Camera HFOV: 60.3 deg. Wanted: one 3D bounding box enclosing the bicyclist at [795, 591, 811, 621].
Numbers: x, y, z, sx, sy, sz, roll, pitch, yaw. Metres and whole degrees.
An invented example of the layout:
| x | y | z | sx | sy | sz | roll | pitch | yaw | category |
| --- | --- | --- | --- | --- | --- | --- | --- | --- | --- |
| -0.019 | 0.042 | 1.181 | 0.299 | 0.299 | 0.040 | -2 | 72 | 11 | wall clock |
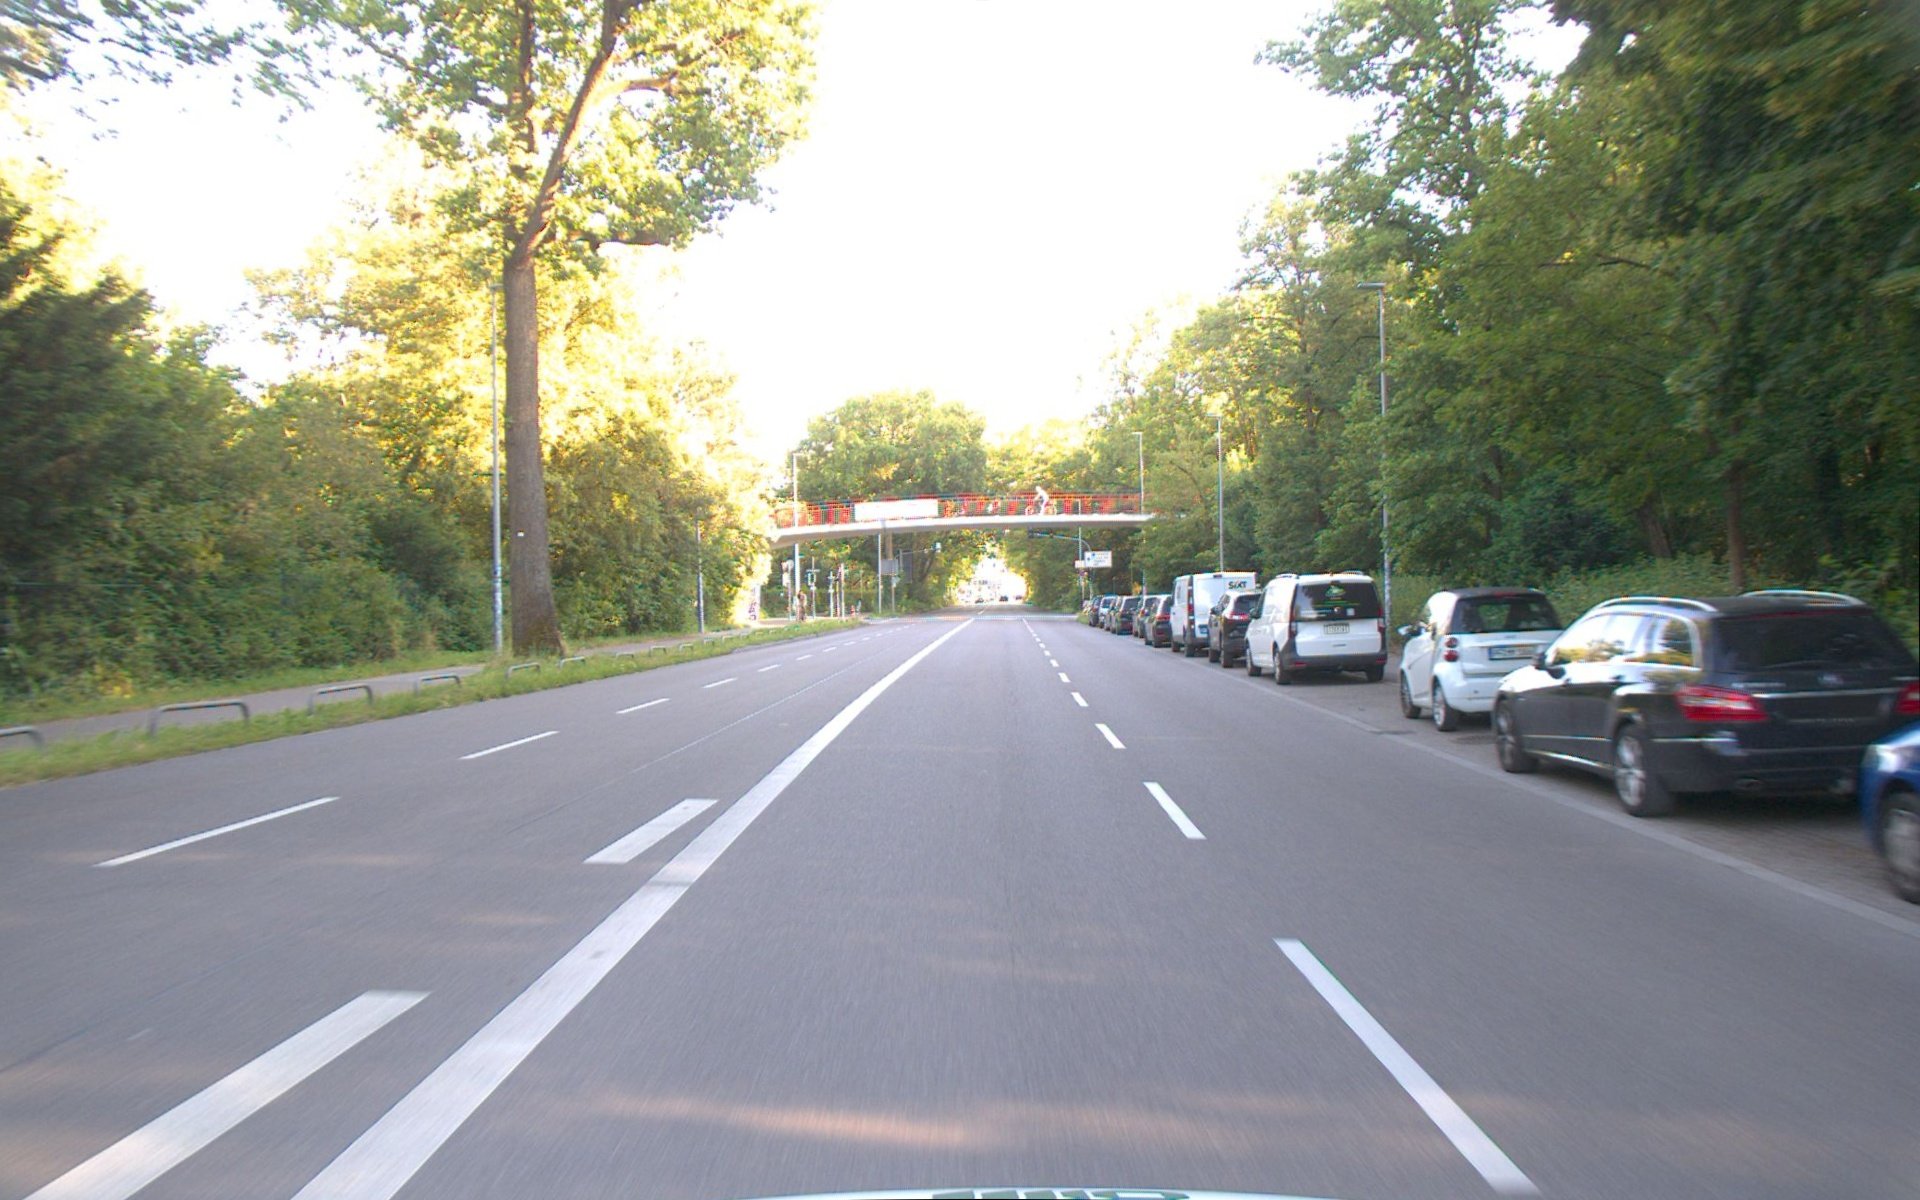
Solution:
| x | y | z | sx | sy | sz | roll | pitch | yaw | category |
| --- | --- | --- | --- | --- | --- | --- | --- | --- | --- |
| -8.397 | 0.322 | 88.310 | 0.697 | 1.586 | 1.143 | 1 | -1 | 1 | bicyclist |

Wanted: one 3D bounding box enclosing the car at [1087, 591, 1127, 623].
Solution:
| x | y | z | sx | sy | sz | roll | pitch | yaw | category |
| --- | --- | --- | --- | --- | --- | --- | --- | --- | --- |
| 7.291 | 0.343 | 82.235 | 1.737 | 1.479 | 4.389 | -1 | 0 | 2 | car |

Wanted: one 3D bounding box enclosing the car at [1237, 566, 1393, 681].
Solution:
| x | y | z | sx | sy | sz | roll | pitch | yaw | category |
| --- | --- | --- | --- | --- | --- | --- | --- | --- | --- |
| 6.217 | 0.398 | 29.468 | 1.723 | 1.835 | 4.737 | -1 | 0 | 0 | car |

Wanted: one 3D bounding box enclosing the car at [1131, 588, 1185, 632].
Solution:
| x | y | z | sx | sy | sz | roll | pitch | yaw | category |
| --- | --- | --- | --- | --- | --- | --- | --- | --- | --- |
| 6.983 | 0.349 | 58.532 | 1.553 | 1.479 | 3.944 | -1 | 0 | 2 | car |

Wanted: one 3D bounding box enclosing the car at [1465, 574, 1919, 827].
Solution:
| x | y | z | sx | sy | sz | roll | pitch | yaw | category |
| --- | --- | --- | --- | --- | --- | --- | --- | --- | --- |
| 5.586 | 0.639 | 12.942 | 1.723 | 1.562 | 4.989 | -1 | 0 | 0 | car |

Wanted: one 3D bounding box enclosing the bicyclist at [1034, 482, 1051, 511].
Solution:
| x | y | z | sx | sy | sz | roll | pitch | yaw | category |
| --- | --- | --- | --- | --- | --- | --- | --- | --- | --- |
| 4.830 | -6.048 | 96.796 | 0.950 | 1.614 | 0.714 | 1 | -1 | 0 | bicyclist |

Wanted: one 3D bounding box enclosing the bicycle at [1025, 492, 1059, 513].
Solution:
| x | y | z | sx | sy | sz | roll | pitch | yaw | category |
| --- | --- | --- | --- | --- | --- | --- | --- | --- | --- |
| 4.815 | -5.715 | 96.800 | 1.946 | 1.167 | 0.714 | 1 | -1 | 0 | bicycle |

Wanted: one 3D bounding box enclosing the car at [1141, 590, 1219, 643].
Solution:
| x | y | z | sx | sy | sz | roll | pitch | yaw | category |
| --- | --- | --- | --- | --- | --- | --- | --- | --- | --- |
| 6.433 | 0.472 | 48.715 | 1.830 | 1.431 | 4.370 | -1 | 0 | 2 | car |

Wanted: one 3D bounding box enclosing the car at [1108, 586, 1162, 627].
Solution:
| x | y | z | sx | sy | sz | roll | pitch | yaw | category |
| --- | --- | --- | --- | --- | --- | --- | --- | --- | --- |
| 6.820 | 0.255 | 64.903 | 1.603 | 1.479 | 4.897 | -1 | 0 | 0 | car |

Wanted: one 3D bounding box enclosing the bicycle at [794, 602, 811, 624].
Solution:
| x | y | z | sx | sy | sz | roll | pitch | yaw | category |
| --- | --- | --- | --- | --- | --- | --- | --- | --- | --- |
| -8.400 | 0.712 | 88.304 | 0.697 | 1.167 | 1.993 | 1 | -1 | 1 | bicycle |

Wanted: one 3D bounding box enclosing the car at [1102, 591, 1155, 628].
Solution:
| x | y | z | sx | sy | sz | roll | pitch | yaw | category |
| --- | --- | --- | --- | --- | --- | --- | --- | --- | --- |
| 7.132 | 0.390 | 70.333 | 1.738 | 1.479 | 5.038 | -1 | 0 | 0 | car |

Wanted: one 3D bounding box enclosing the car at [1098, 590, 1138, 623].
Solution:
| x | y | z | sx | sy | sz | roll | pitch | yaw | category |
| --- | --- | --- | --- | --- | --- | --- | --- | --- | --- |
| 7.402 | 0.316 | 77.821 | 1.737 | 1.479 | 4.016 | -1 | 0 | 4 | car |

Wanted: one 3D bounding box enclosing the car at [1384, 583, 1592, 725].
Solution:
| x | y | z | sx | sy | sz | roll | pitch | yaw | category |
| --- | --- | --- | --- | --- | --- | --- | --- | --- | --- |
| 6.158 | 0.594 | 19.619 | 1.552 | 1.521 | 3.181 | -1 | 0 | 3 | car |

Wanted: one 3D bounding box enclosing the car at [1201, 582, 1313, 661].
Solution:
| x | y | z | sx | sy | sz | roll | pitch | yaw | category |
| --- | --- | --- | --- | --- | --- | --- | --- | --- | --- |
| 6.349 | 0.442 | 35.795 | 1.722 | 1.574 | 4.429 | -1 | 0 | 2 | car |

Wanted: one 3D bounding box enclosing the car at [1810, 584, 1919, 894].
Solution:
| x | y | z | sx | sy | sz | roll | pitch | yaw | category |
| --- | --- | --- | --- | --- | --- | --- | --- | --- | --- |
| 5.640 | 0.677 | 7.171 | 1.643 | 1.562 | 4.353 | -1 | 0 | 0 | car |

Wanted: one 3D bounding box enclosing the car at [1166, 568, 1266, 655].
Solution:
| x | y | z | sx | sy | sz | roll | pitch | yaw | category |
| --- | --- | --- | --- | --- | --- | --- | --- | --- | --- |
| 6.430 | 0.279 | 42.122 | 1.830 | 2.016 | 5.476 | -1 | 0 | 2 | car |
